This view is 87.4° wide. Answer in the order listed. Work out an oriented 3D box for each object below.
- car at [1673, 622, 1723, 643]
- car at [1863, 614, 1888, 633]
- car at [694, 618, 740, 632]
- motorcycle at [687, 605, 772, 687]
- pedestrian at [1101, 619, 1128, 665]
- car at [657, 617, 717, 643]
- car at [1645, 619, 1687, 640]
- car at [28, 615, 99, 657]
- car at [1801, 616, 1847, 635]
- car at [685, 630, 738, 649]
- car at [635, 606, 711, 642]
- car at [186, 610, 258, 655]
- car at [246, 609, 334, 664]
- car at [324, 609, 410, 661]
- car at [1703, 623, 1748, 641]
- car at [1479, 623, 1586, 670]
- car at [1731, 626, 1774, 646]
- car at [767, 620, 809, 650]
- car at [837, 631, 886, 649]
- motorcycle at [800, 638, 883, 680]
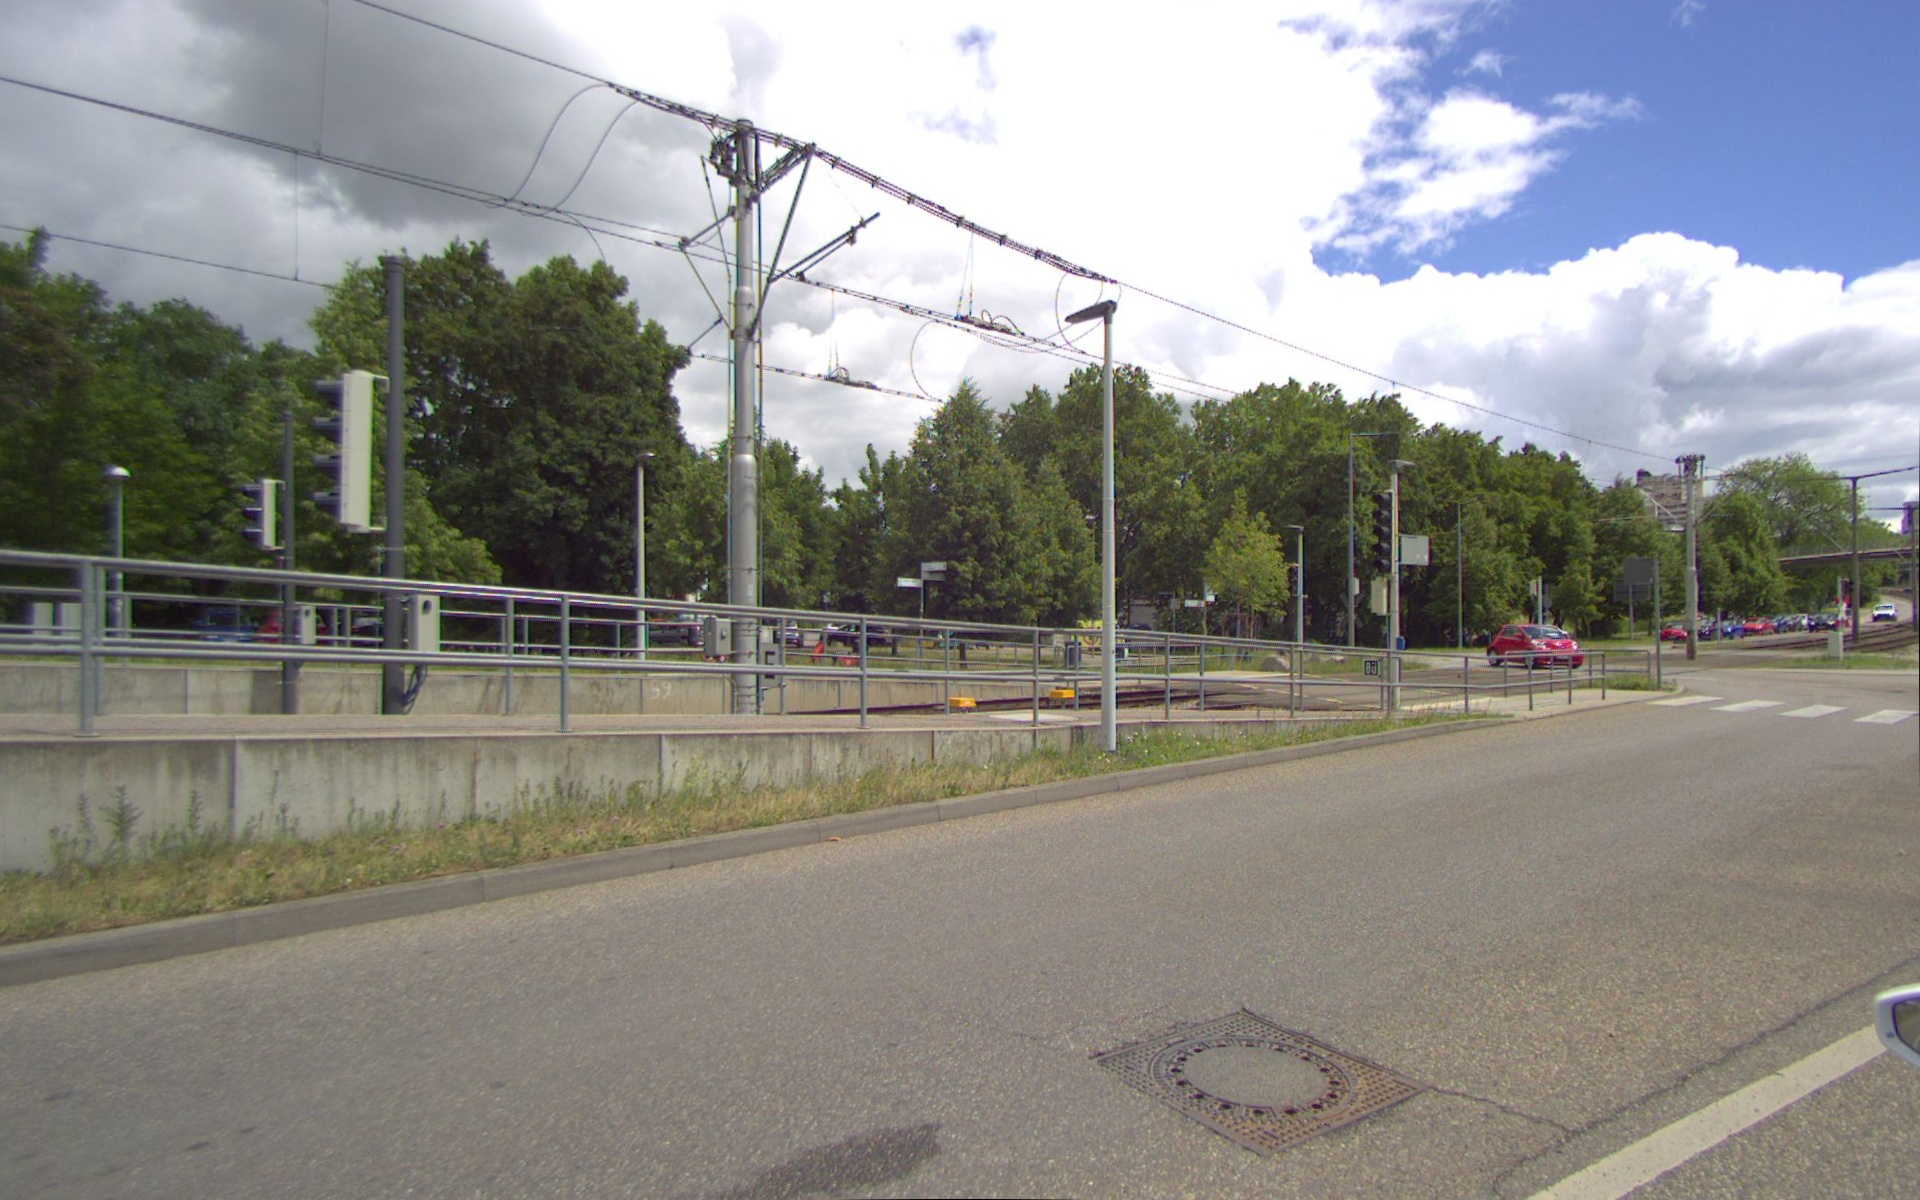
[{"bbox_3d":[52.974,2.328,72.097,3.495,1.444,1.868,1,-2,-35],"label":"car"},{"bbox_3d":[101.284,2.563,111.112,1.972,2.040,3.976,-1,-1,43],"label":"car"},{"bbox_3d":[-19.643,2.026,81.326,3.384,1.034,1.631,0,-1,-3],"label":"car"},{"bbox_3d":[-5.877,1.158,25.631,1.957,2.040,0.830,1,-1,-27],"label":"motorcycle"},{"bbox_3d":[6.874,1.854,44.633,0.809,2.040,0.959,0,0,-21],"label":"pedestrian"},{"bbox_3d":[-16.768,1.833,61.831,3.415,1.587,1.490,0,0,-8],"label":"car"},{"bbox_3d":[48.328,2.017,68.773,3.568,1.388,1.515,1,-2,-40],"label":"car"},{"bbox_3d":[-34.664,1.343,38.826,1.955,1.511,3.784,0,-1,-43],"label":"car"},{"bbox_3d":[73.405,2.159,85.351,4.376,1.618,1.980,1,-2,-36],"label":"car"},{"bbox_3d":[-17.580,2.801,71.239,3.427,1.270,1.603,0,0,-6],"label":"car"},{"bbox_3d":[-16.608,1.363,58.360,3.924,2.040,1.998,0,0,-6],"label":"car"},{"bbox_3d":[-30.139,1.296,41.154,2.167,1.751,3.963,0,-1,-34],"label":"car"},{"bbox_3d":[-22.361,1.169,33.473,2.036,1.728,3.605,0,-1,-40],"label":"car"},{"bbox_3d":[-20.769,1.189,35.125,1.959,1.706,3.953,0,-1,-40],"label":"car"},{"bbox_3d":[57.322,2.383,75.232,3.535,1.271,1.793,0,-1,-37],"label":"car"},{"bbox_3d":[19.513,1.563,34.361,1.693,1.523,2.962,0,-1,-9],"label":"car"},{"bbox_3d":[64.920,2.954,82.294,3.964,1.582,1.898,1,-1,-38],"label":"car"},{"bbox_3d":[-10.020,2.001,58.695,1.961,1.660,4.137,0,-1,-3],"label":"car"},{"bbox_3d":[-6.263,2.535,63.742,3.048,1.096,1.414,0,-1,-9],"label":"car"},{"bbox_3d":[-3.250,1.595,27.604,2.192,1.095,0.725,1,-2,-33],"label":"motorcycle"}]
